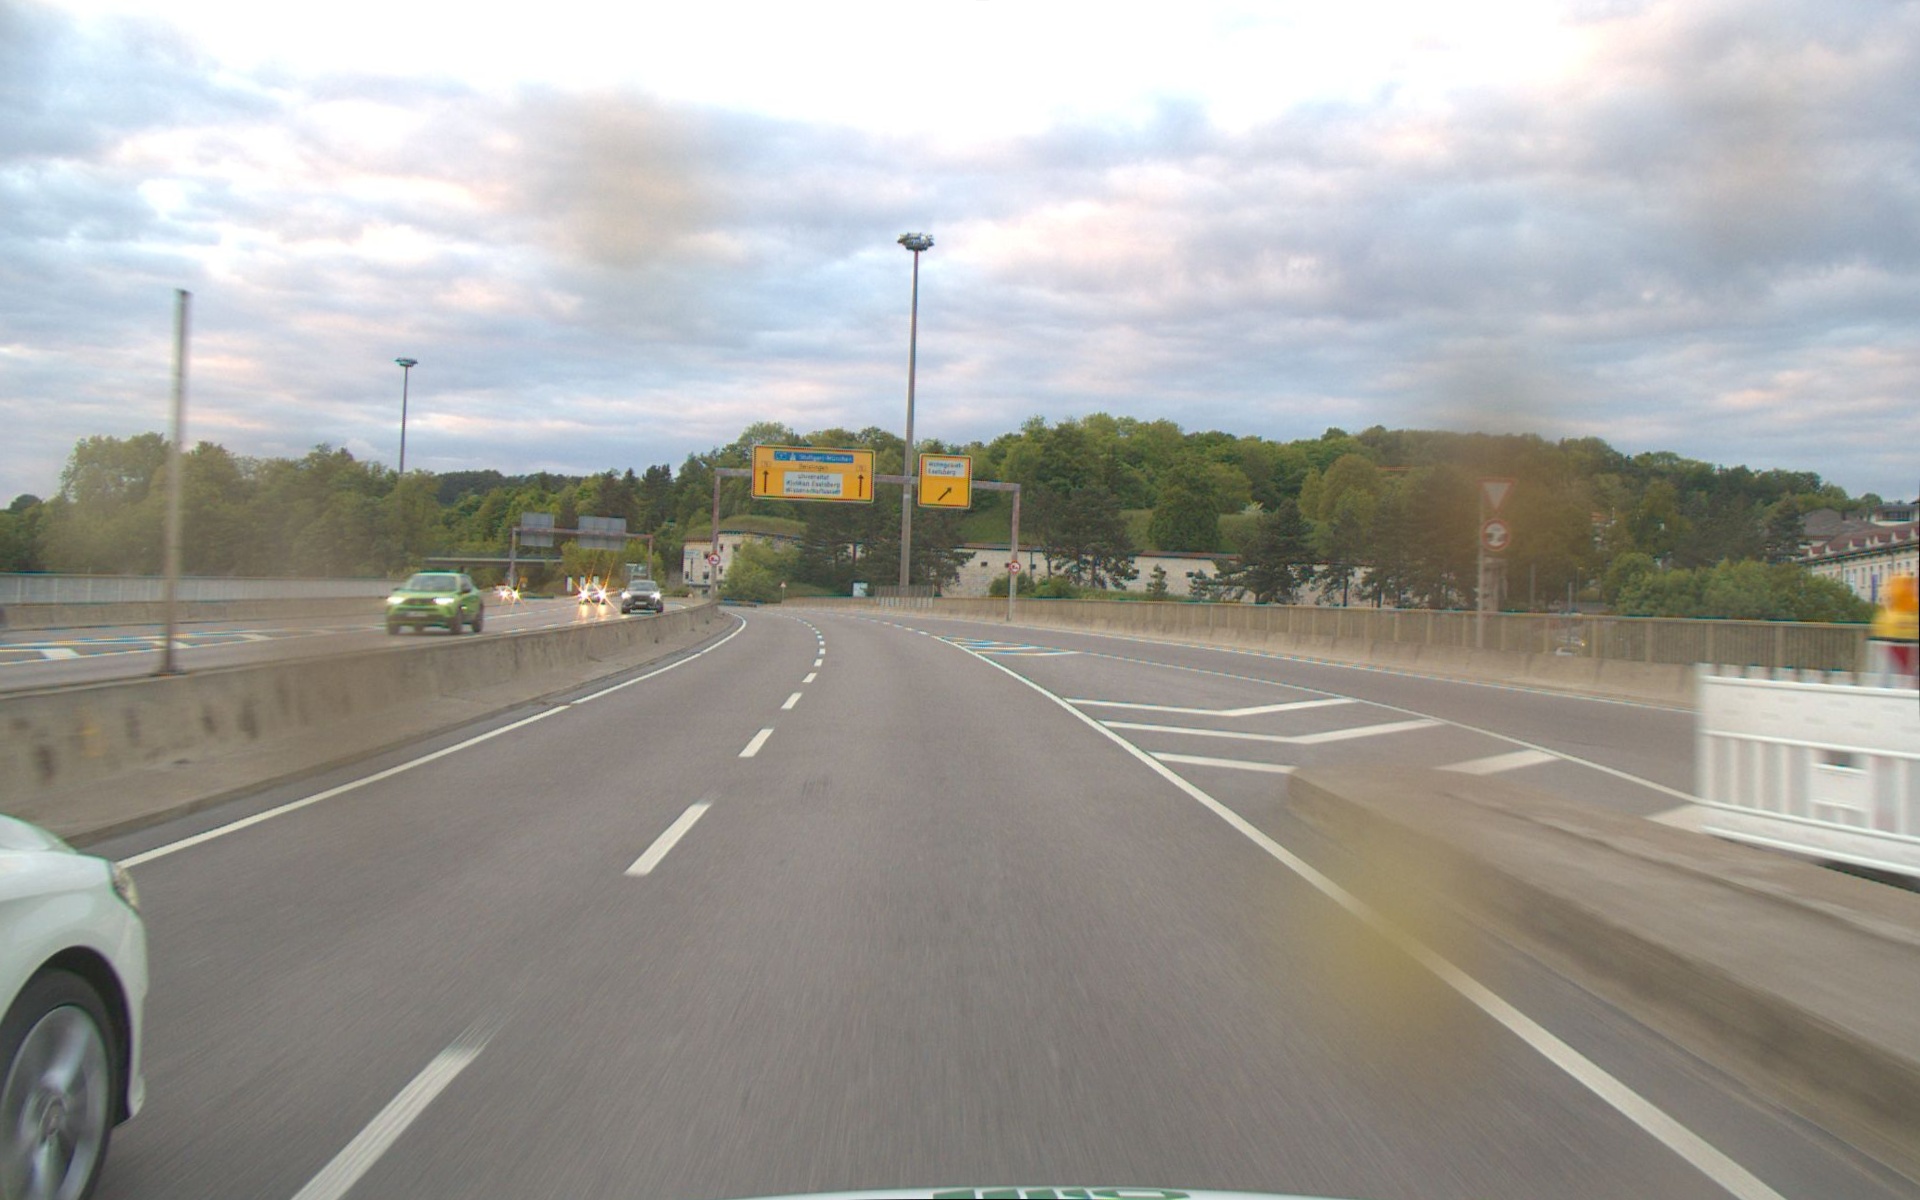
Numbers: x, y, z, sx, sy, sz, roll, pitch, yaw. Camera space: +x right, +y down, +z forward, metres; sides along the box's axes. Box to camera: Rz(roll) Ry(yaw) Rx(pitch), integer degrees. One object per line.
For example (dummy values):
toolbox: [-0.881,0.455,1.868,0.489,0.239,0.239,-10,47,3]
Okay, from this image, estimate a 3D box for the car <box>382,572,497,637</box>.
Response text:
car: [-13.210,0.126,42.188,1.676,1.520,4.080,-1,-1,-1]

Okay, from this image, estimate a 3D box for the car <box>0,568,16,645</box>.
car: [-21.155,0.139,33.321,1.859,1.624,4.163,1,0,0]

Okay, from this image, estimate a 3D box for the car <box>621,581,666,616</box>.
car: [-14.604,-0.076,76.453,1.777,1.561,4.537,1,0,-8]

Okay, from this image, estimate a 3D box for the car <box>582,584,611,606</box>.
car: [-25.736,-0.361,116.951,1.703,1.502,4.205,1,0,-16]

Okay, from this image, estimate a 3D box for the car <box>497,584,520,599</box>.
car: [-52.334,-0.975,191.696,1.648,1.763,3.963,2,0,-28]

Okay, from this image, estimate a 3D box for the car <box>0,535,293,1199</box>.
car: [-2.731,0.641,2.416,1.656,1.564,4.782,0,0,-1]
